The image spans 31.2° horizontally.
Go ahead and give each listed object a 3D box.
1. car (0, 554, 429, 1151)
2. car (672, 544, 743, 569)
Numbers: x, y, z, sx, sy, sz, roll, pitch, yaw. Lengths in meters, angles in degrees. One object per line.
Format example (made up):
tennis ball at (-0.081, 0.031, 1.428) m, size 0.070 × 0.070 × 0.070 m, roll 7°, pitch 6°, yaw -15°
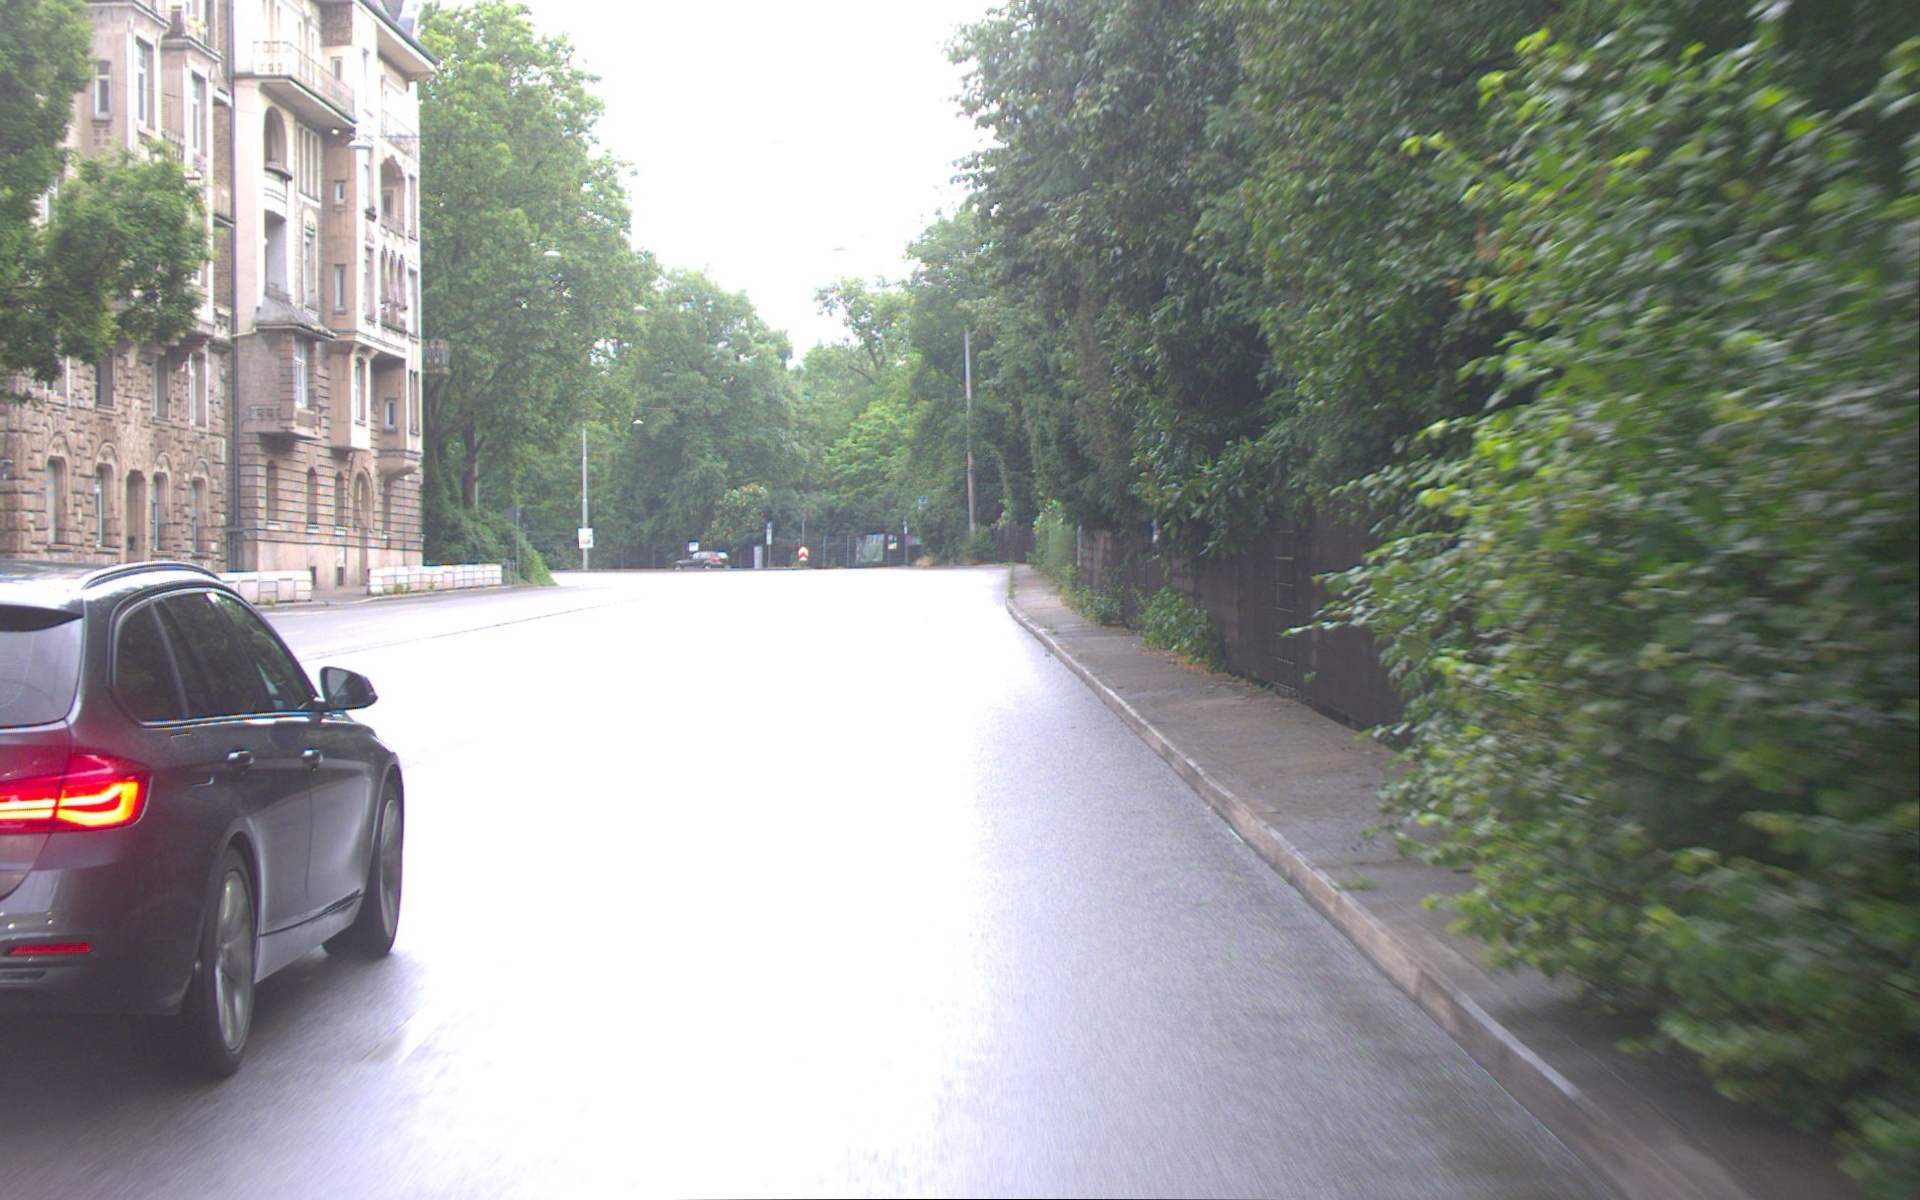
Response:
car at (-2.867, 0.593, 10.677) m, size 1.757 × 1.427 × 4.413 m, roll 1°, pitch 1°, yaw 0°
car at (-15.069, -2.597, 205.021) m, size 4.368 × 1.422 × 1.688 m, roll 0°, pitch -2°, yaw 44°
